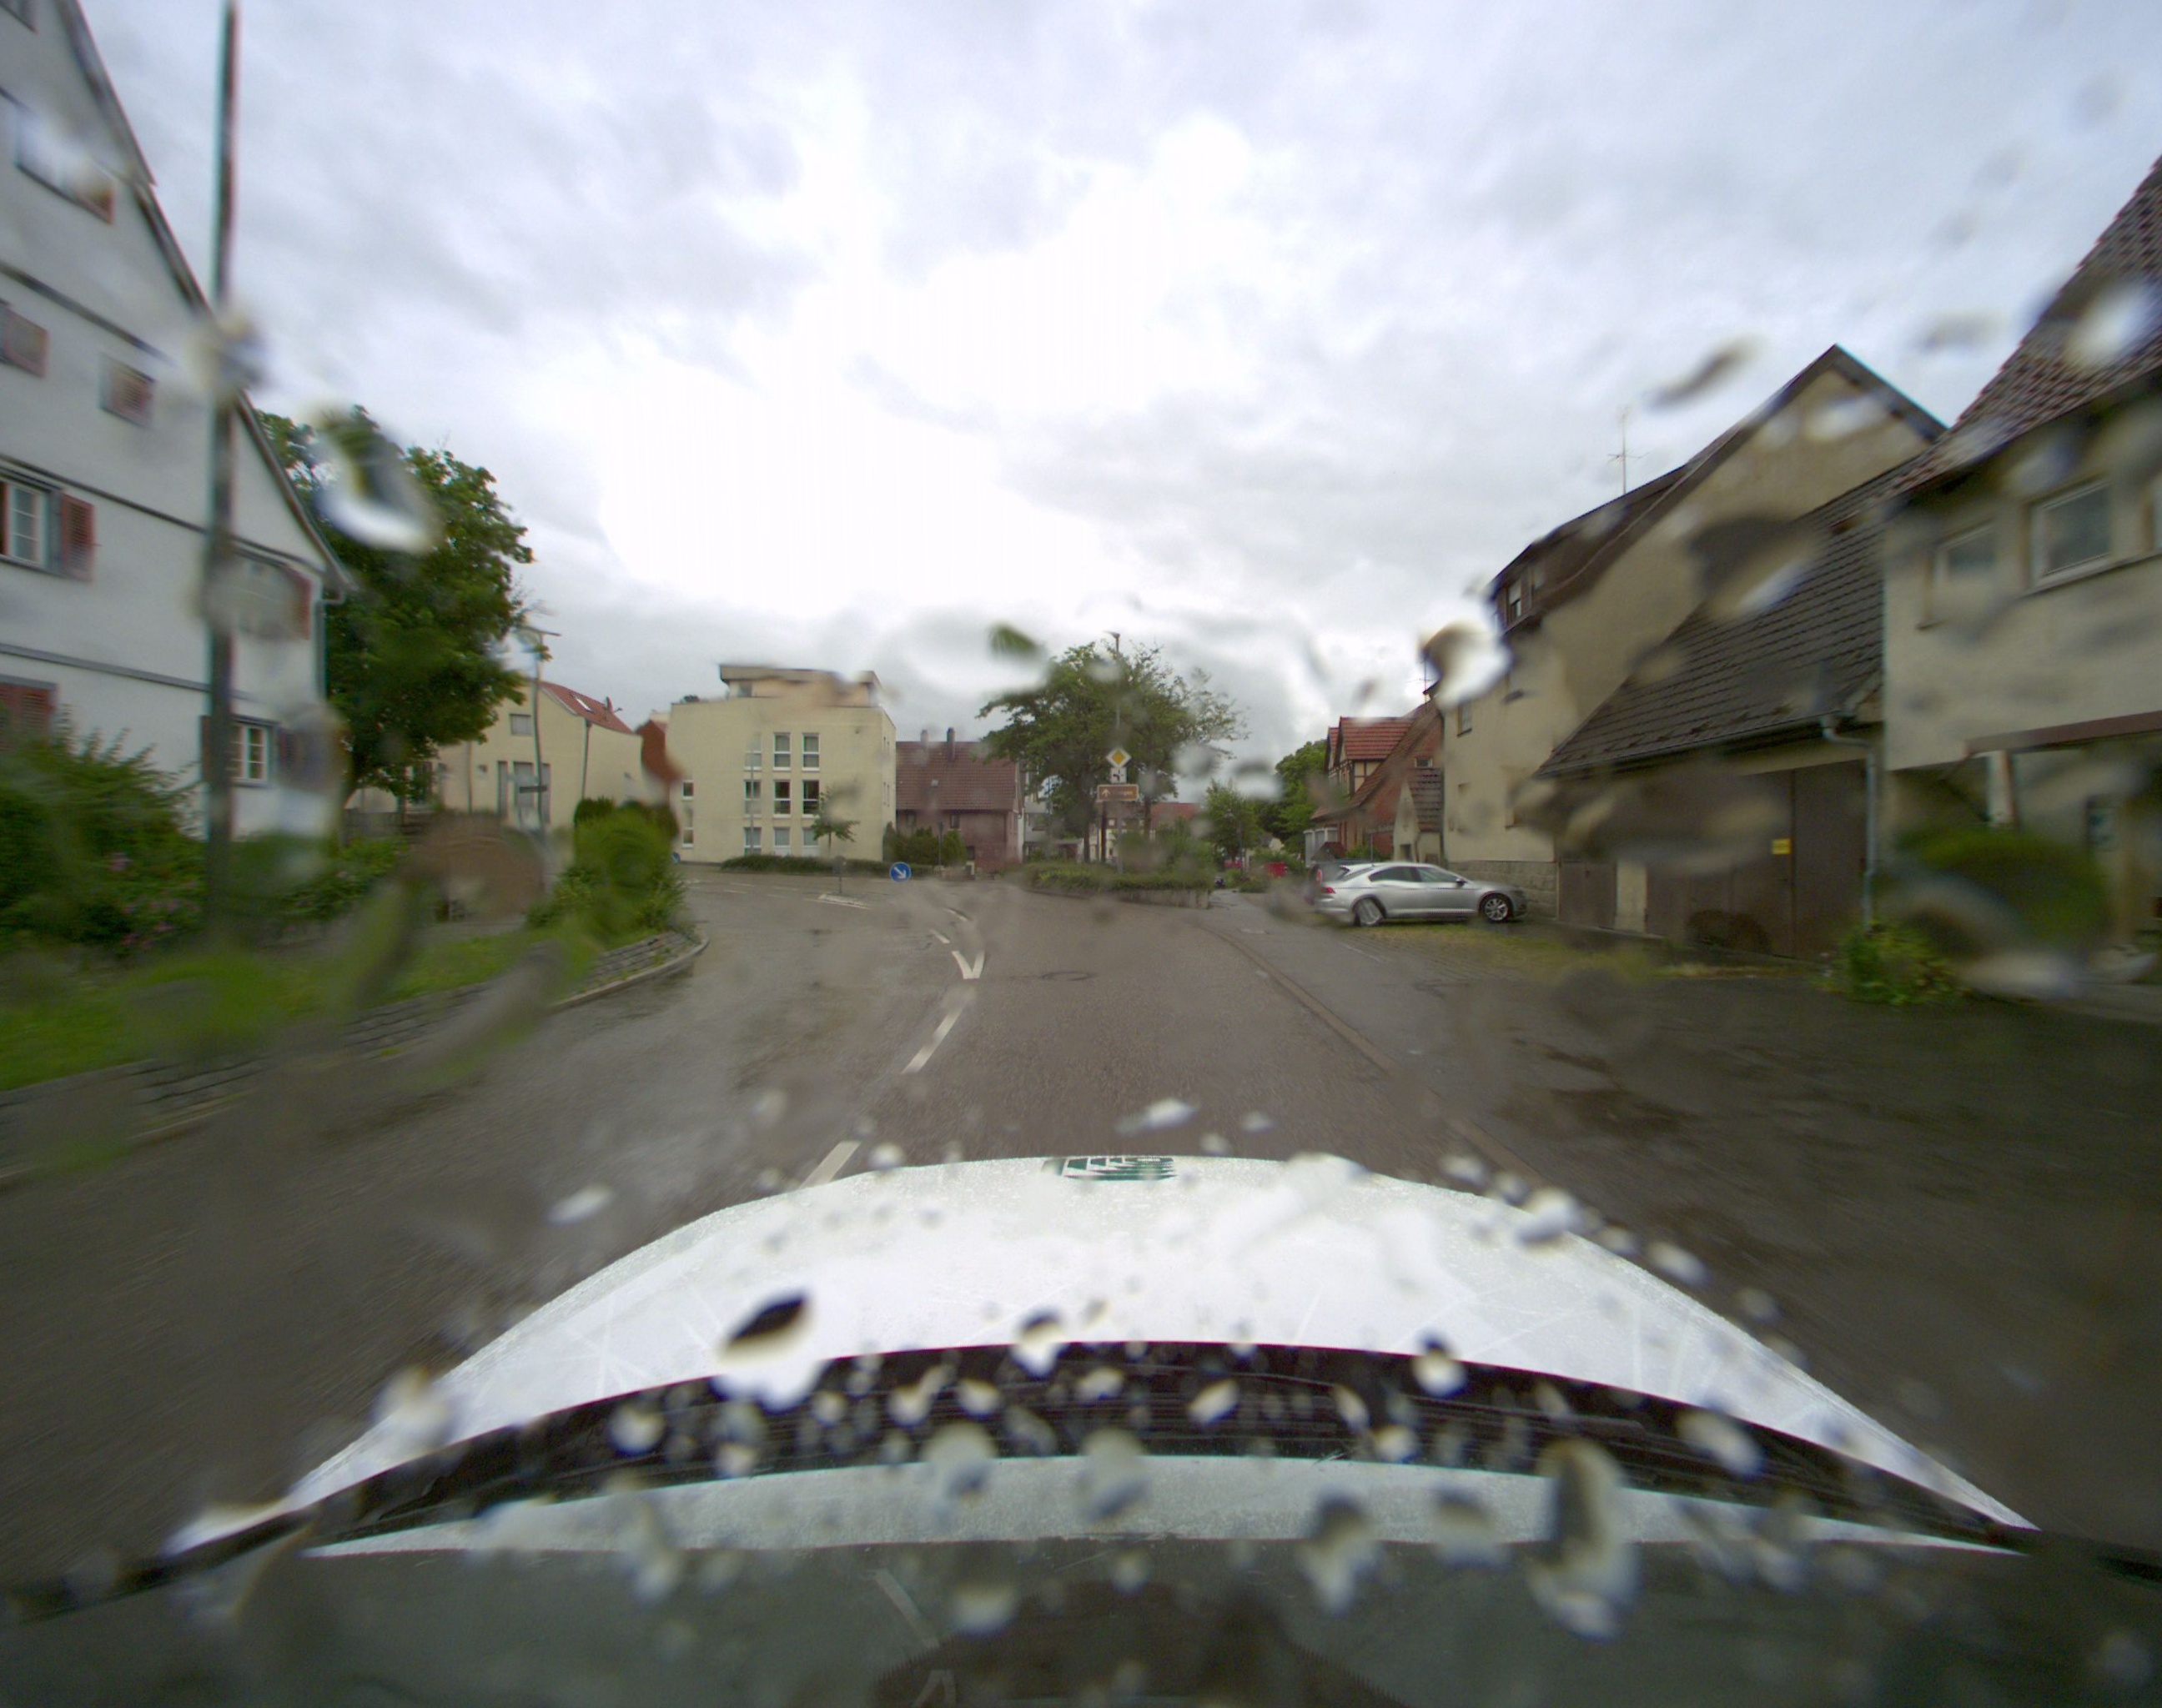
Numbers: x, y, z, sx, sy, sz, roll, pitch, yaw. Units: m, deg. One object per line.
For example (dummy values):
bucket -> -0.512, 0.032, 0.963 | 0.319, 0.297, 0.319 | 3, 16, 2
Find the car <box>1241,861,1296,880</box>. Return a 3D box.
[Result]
car -> 16.898, 1.492, 73.490 | 4.427, 1.552, 2.012 | 2, 0, 28

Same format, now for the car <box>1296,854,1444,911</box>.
car -> 8.890, 0.879, 25.274 | 3.972, 1.583, 1.749 | -1, -2, 1

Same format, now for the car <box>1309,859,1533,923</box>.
car -> 7.878, 0.864, 19.270 | 4.585, 1.415, 1.825 | -1, -1, 9

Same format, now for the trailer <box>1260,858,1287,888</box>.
trailer -> 11.146, 1.093, 47.158 | 1.398, 1.649, 2.734 | 2, 0, 13

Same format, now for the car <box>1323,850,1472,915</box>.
car -> 8.615, 0.814, 22.392 | 3.403, 1.530, 1.721 | -4, -4, 6

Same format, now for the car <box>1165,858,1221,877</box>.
car -> 7.753, 0.921, 56.283 | 3.746, 1.338, 1.718 | 0, 0, 8

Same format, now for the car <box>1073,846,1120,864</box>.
car -> 1.317, 0.107, 70.692 | 3.973, 1.456, 1.946 | 2, 0, 0
